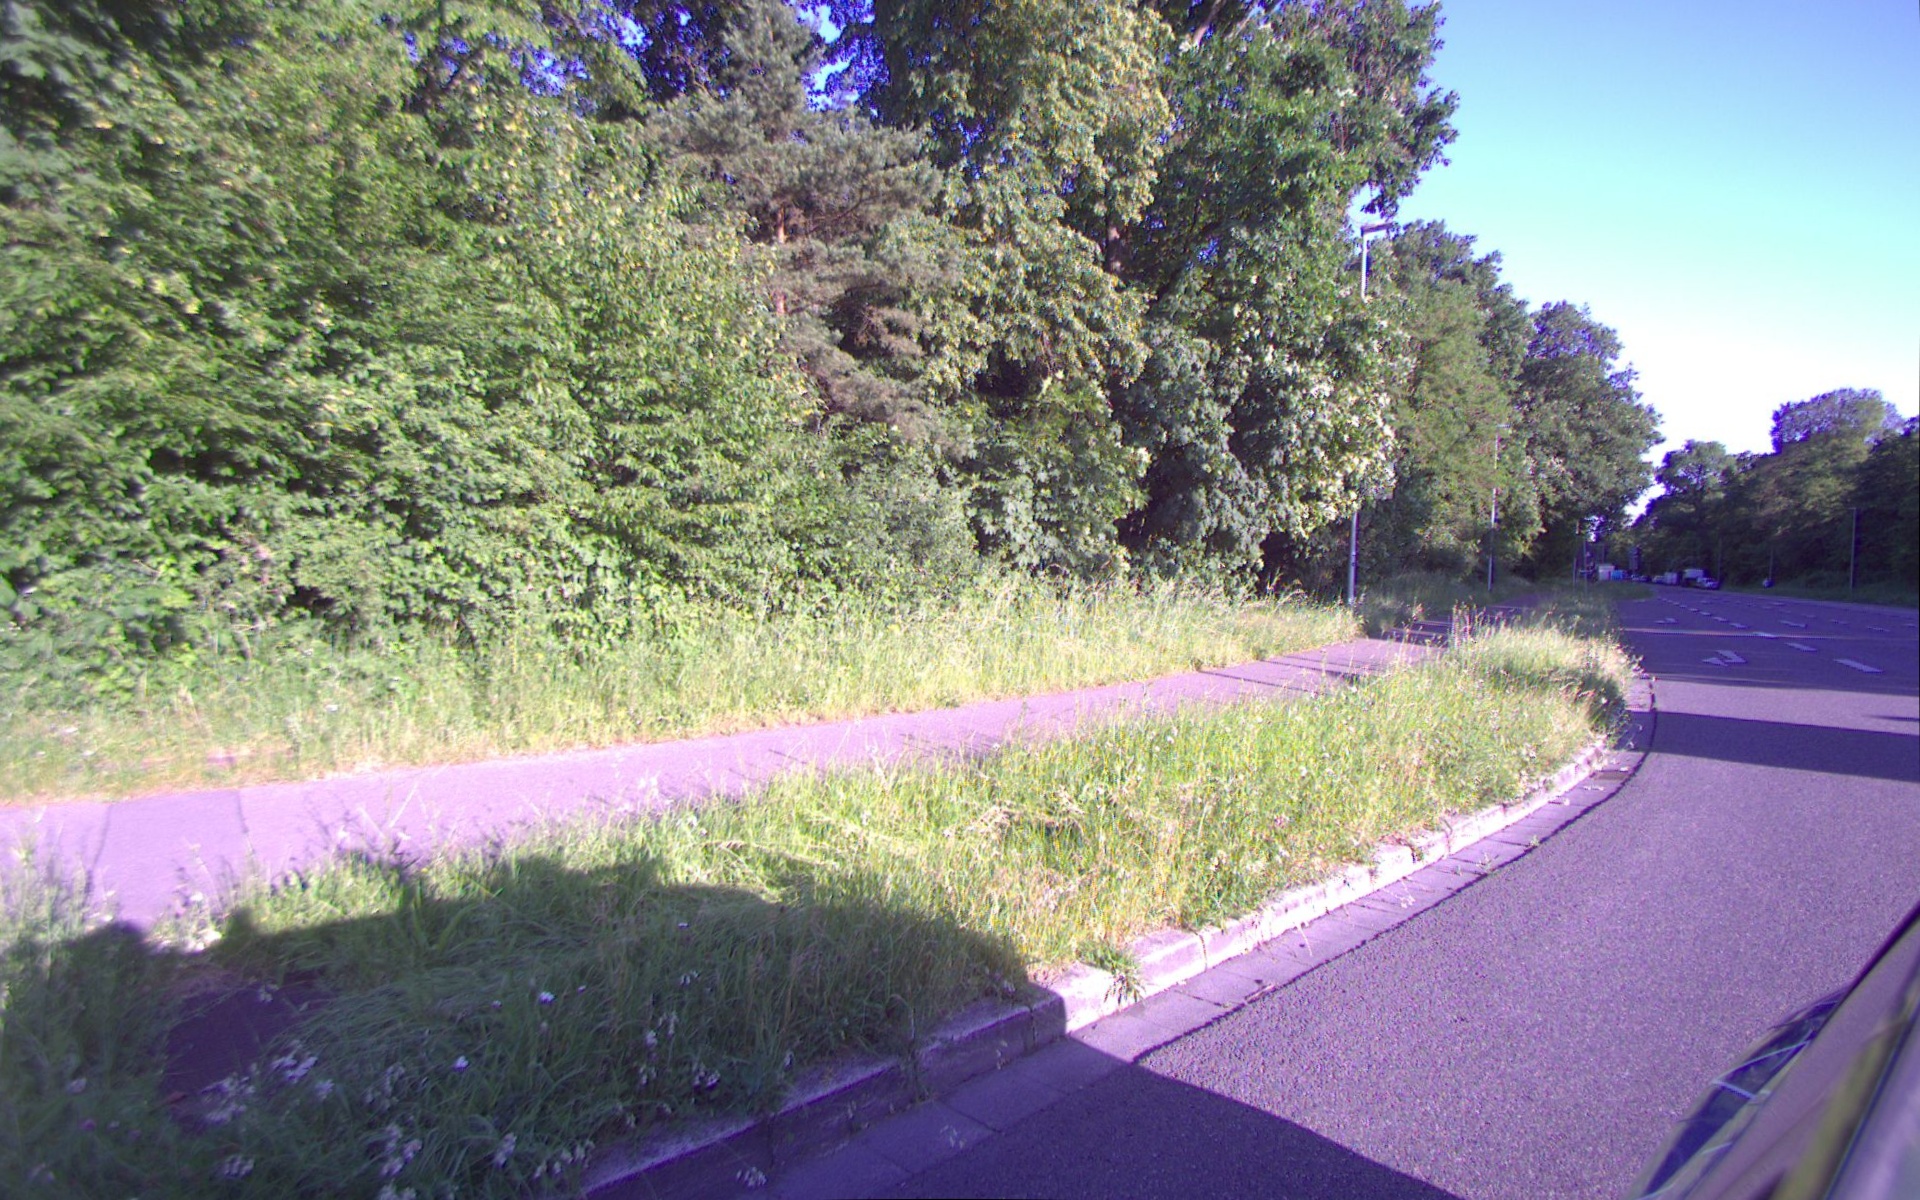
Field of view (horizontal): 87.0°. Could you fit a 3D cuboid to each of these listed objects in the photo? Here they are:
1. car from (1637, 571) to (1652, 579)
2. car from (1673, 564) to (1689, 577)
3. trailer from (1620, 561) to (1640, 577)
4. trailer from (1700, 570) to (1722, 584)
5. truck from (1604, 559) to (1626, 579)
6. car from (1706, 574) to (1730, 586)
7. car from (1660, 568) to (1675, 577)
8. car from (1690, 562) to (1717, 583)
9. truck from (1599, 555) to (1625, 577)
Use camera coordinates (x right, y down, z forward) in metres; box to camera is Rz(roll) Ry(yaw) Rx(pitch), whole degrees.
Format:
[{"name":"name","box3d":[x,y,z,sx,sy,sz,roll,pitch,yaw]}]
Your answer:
[{"name":"car","box3d":[130.764,-4.843,193.333,1.818,1.473,4.437,3,3,28]},{"name":"car","box3d":[125.039,-5.086,175.577,1.678,2.126,4.586,4,4,29]},{"name":"trailer","box3d":[89.419,-4.152,135.144,1.854,2.204,4.088,1,2,29]},{"name":"trailer","box3d":[102.589,-3.102,138.266,1.792,1.750,3.611,4,4,29]},{"name":"truck","box3d":[97.506,-4.592,150.713,2.370,2.907,5.543,0,2,29]},{"name":"car","box3d":[100.203,-2.663,133.826,1.900,1.481,3.972,4,4,29]},{"name":"car","box3d":[130.577,-5.079,186.745,1.792,1.523,3.874,4,4,29]},{"name":"car","box3d":[108.817,-3.986,148.234,2.441,2.881,4.751,4,4,29]},{"name":"truck","box3d":[102.542,-5.419,159.211,2.685,3.276,7.057,4,4,29]}]
